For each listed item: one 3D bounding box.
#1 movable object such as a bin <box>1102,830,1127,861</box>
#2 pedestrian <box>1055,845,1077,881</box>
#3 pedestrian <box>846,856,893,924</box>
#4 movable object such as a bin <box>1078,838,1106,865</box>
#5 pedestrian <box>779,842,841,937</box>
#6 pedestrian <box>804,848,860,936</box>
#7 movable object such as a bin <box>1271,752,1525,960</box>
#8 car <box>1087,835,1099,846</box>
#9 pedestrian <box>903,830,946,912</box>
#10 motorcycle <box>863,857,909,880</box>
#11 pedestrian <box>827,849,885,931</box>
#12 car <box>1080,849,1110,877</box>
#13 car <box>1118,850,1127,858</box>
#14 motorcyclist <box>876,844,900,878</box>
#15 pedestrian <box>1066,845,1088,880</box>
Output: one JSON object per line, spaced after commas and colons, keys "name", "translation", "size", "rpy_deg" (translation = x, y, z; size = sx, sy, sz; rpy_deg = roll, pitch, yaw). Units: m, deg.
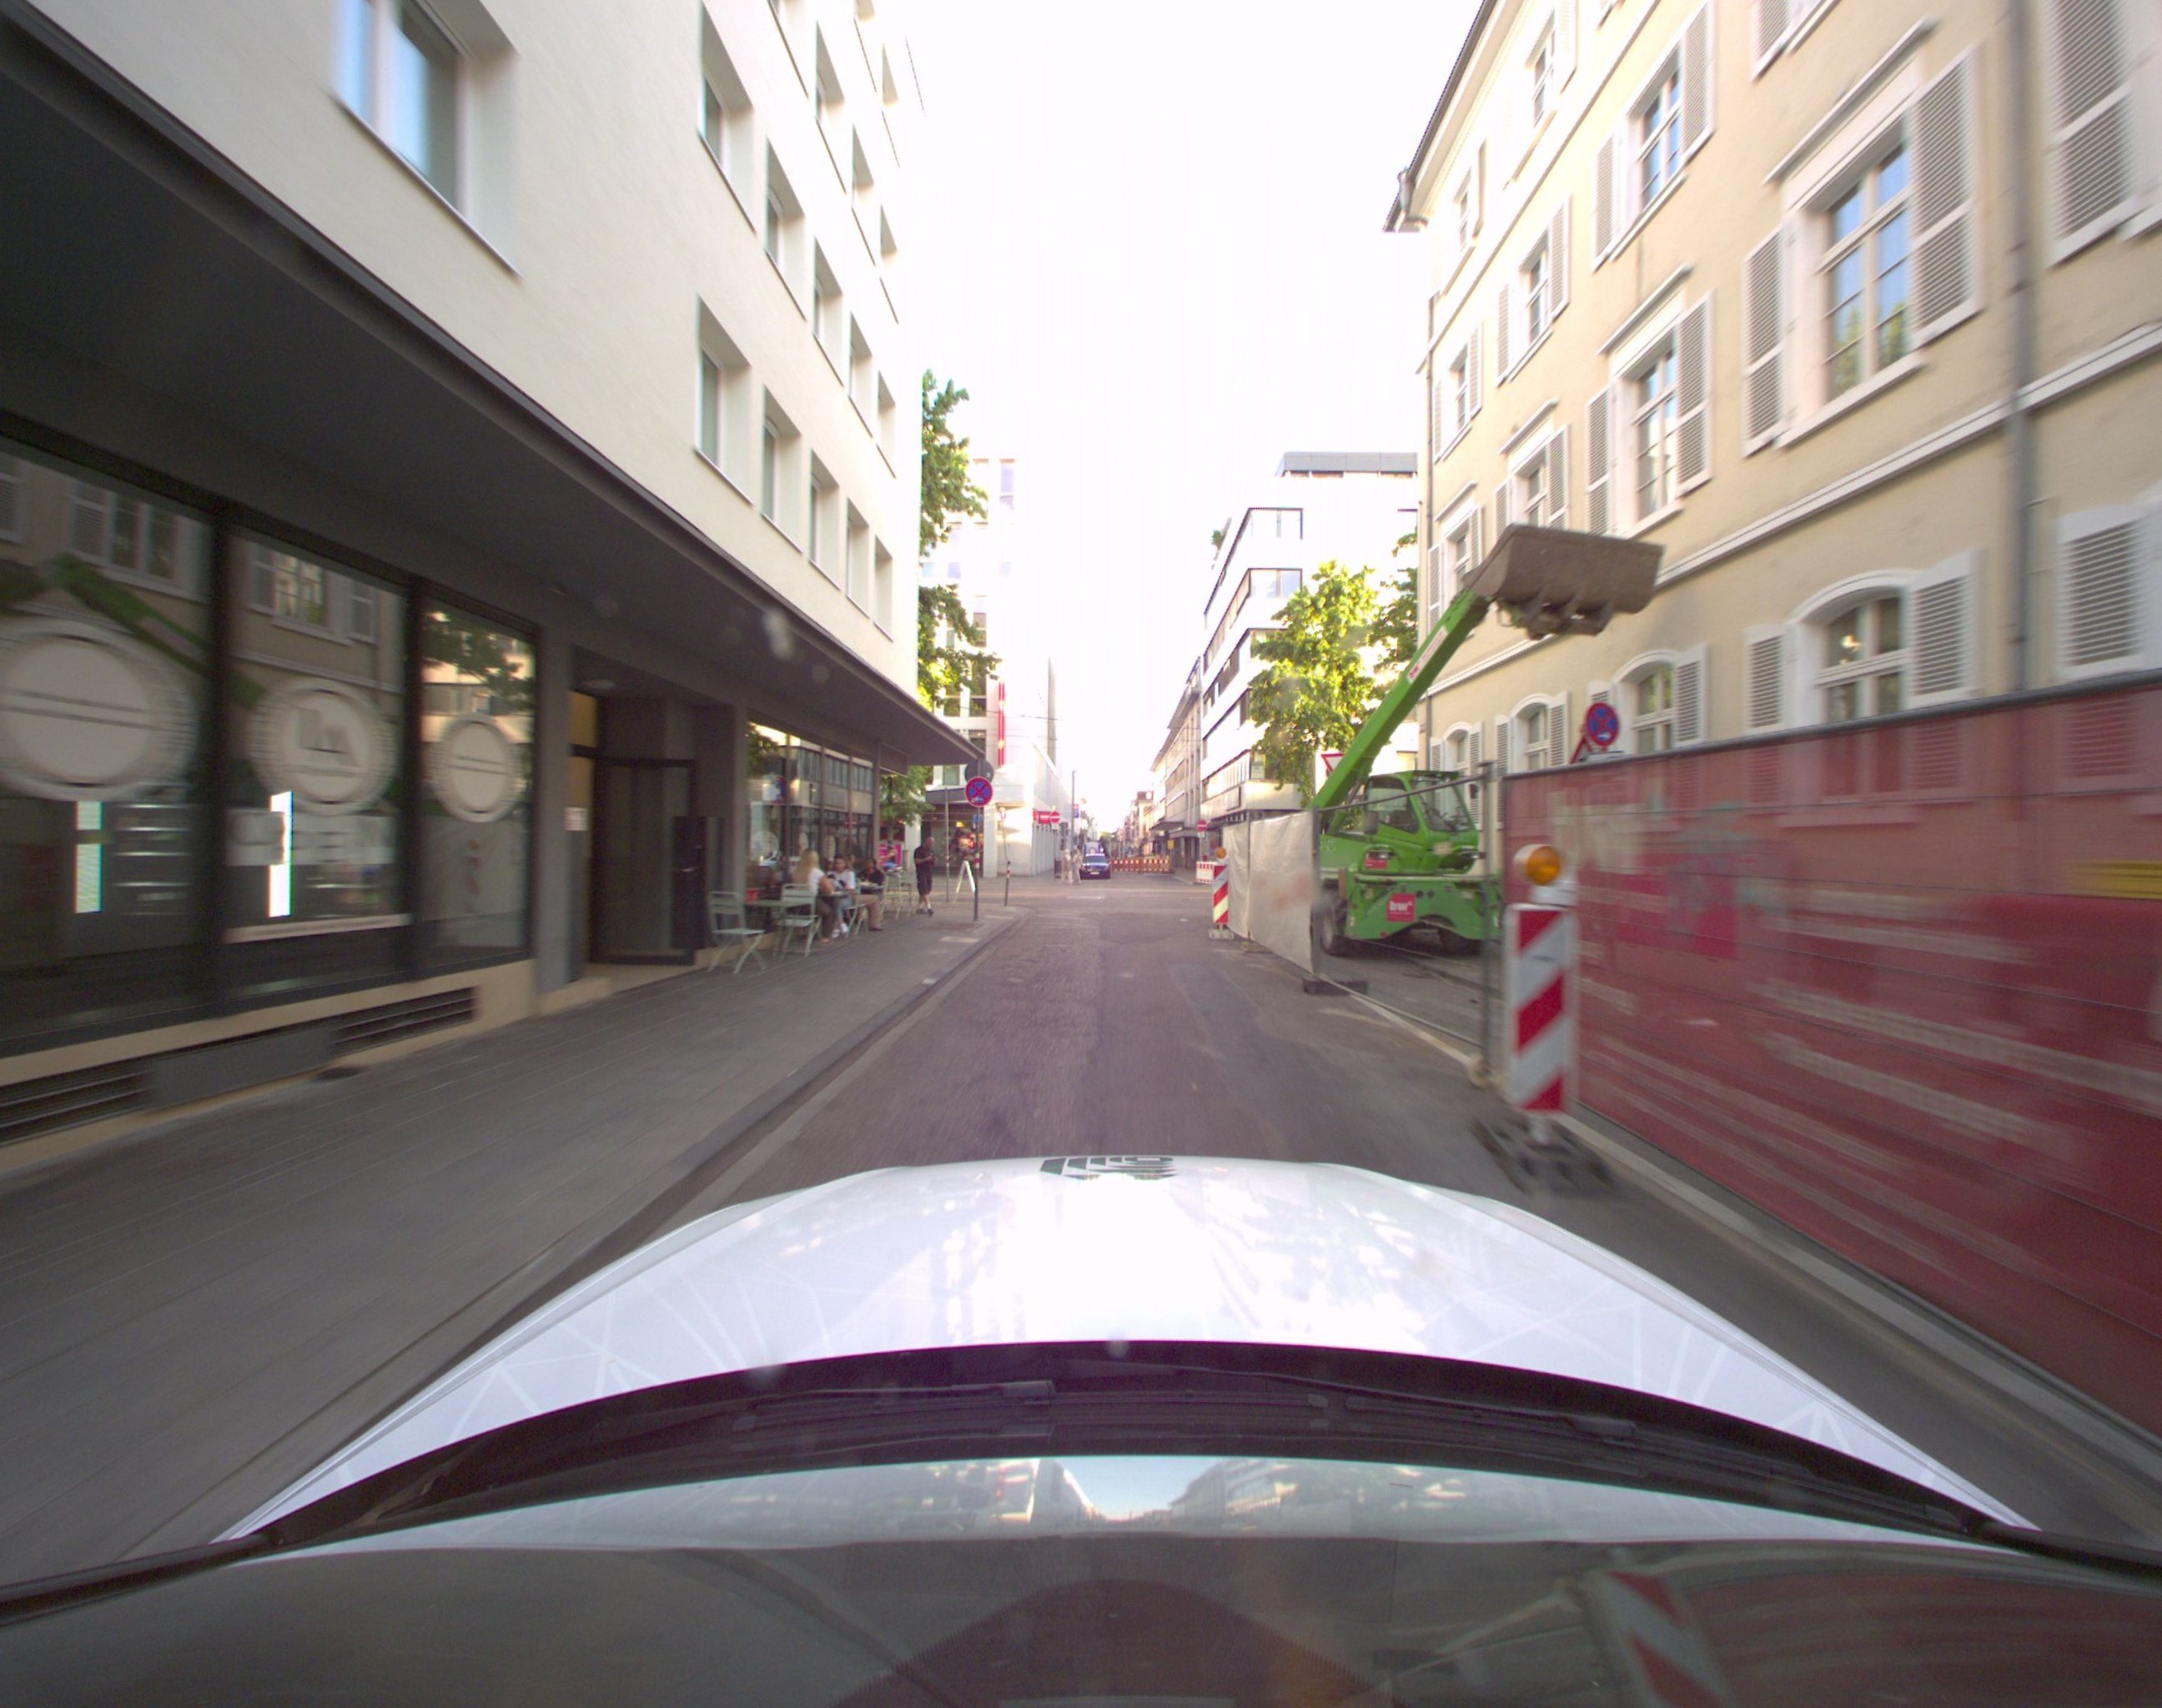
{"name": "movable object such as a bin", "translation": [2.979, -0.734, 72.825], "size": [2.148, 2.663, 4.574], "rpy_deg": [0, 0, 2]}
{"name": "pedestrian", "translation": [-0.706, 0.414, 37.932], "size": [0.615, 1.627, 0.862], "rpy_deg": [-1, 0, -42]}
{"name": "pedestrian", "translation": [-3.667, 0.613, 14.175], "size": [0.571, 1.113, 0.714], "rpy_deg": [2, 1, 2]}
{"name": "movable object such as a bin", "translation": [0.879, -0.215, 62.791], "size": [1.986, 2.013, 4.002], "rpy_deg": [-1, 0, 2]}
{"name": "pedestrian", "translation": [-3.804, 0.474, 11.458], "size": [0.571, 1.275, 0.714], "rpy_deg": [2, 0, 2]}
{"name": "pedestrian", "translation": [-3.757, 0.553, 12.332], "size": [0.571, 1.275, 0.714], "rpy_deg": [2, 0, 2]}
{"name": "movable object such as a bin", "translation": [4.899, 0.006, 13.498], "size": [2.595, 2.839, 4.452], "rpy_deg": [-1, 0, 2]}
{"name": "car", "translation": [2.119, -2.381, 142.477], "size": [1.986, 1.776, 4.002], "rpy_deg": [-1, 0, 2]}
{"name": "pedestrian", "translation": [-3.262, 0.355, 17.022], "size": [0.500, 1.667, 0.692], "rpy_deg": [2, 0, 33]}
{"name": "motorcycle", "translation": [-7.851, 0.578, 32.886], "size": [1.753, 0.919, 0.640], "rpy_deg": [0, 0, -9]}
{"name": "pedestrian", "translation": [-3.669, 0.569, 13.327], "size": [0.699, 1.275, 0.714], "rpy_deg": [2, 0, 2]}
{"name": "car", "translation": [0.783, 0.487, 47.474], "size": [1.625, 1.550, 3.140], "rpy_deg": [-1, 1, -2]}
{"name": "car", "translation": [9.451, 0.039, 186.430], "size": [1.986, 1.776, 4.002], "rpy_deg": [-1, 0, 2]}
{"name": "motorcyclist", "translation": [-7.794, 0.275, 32.907], "size": [0.894, 1.388, 0.670], "rpy_deg": [0, 0, -8]}
{"name": "pedestrian", "translation": [-0.198, 0.402, 38.408], "size": [0.615, 1.627, 0.862], "rpy_deg": [-1, 0, -42]}
